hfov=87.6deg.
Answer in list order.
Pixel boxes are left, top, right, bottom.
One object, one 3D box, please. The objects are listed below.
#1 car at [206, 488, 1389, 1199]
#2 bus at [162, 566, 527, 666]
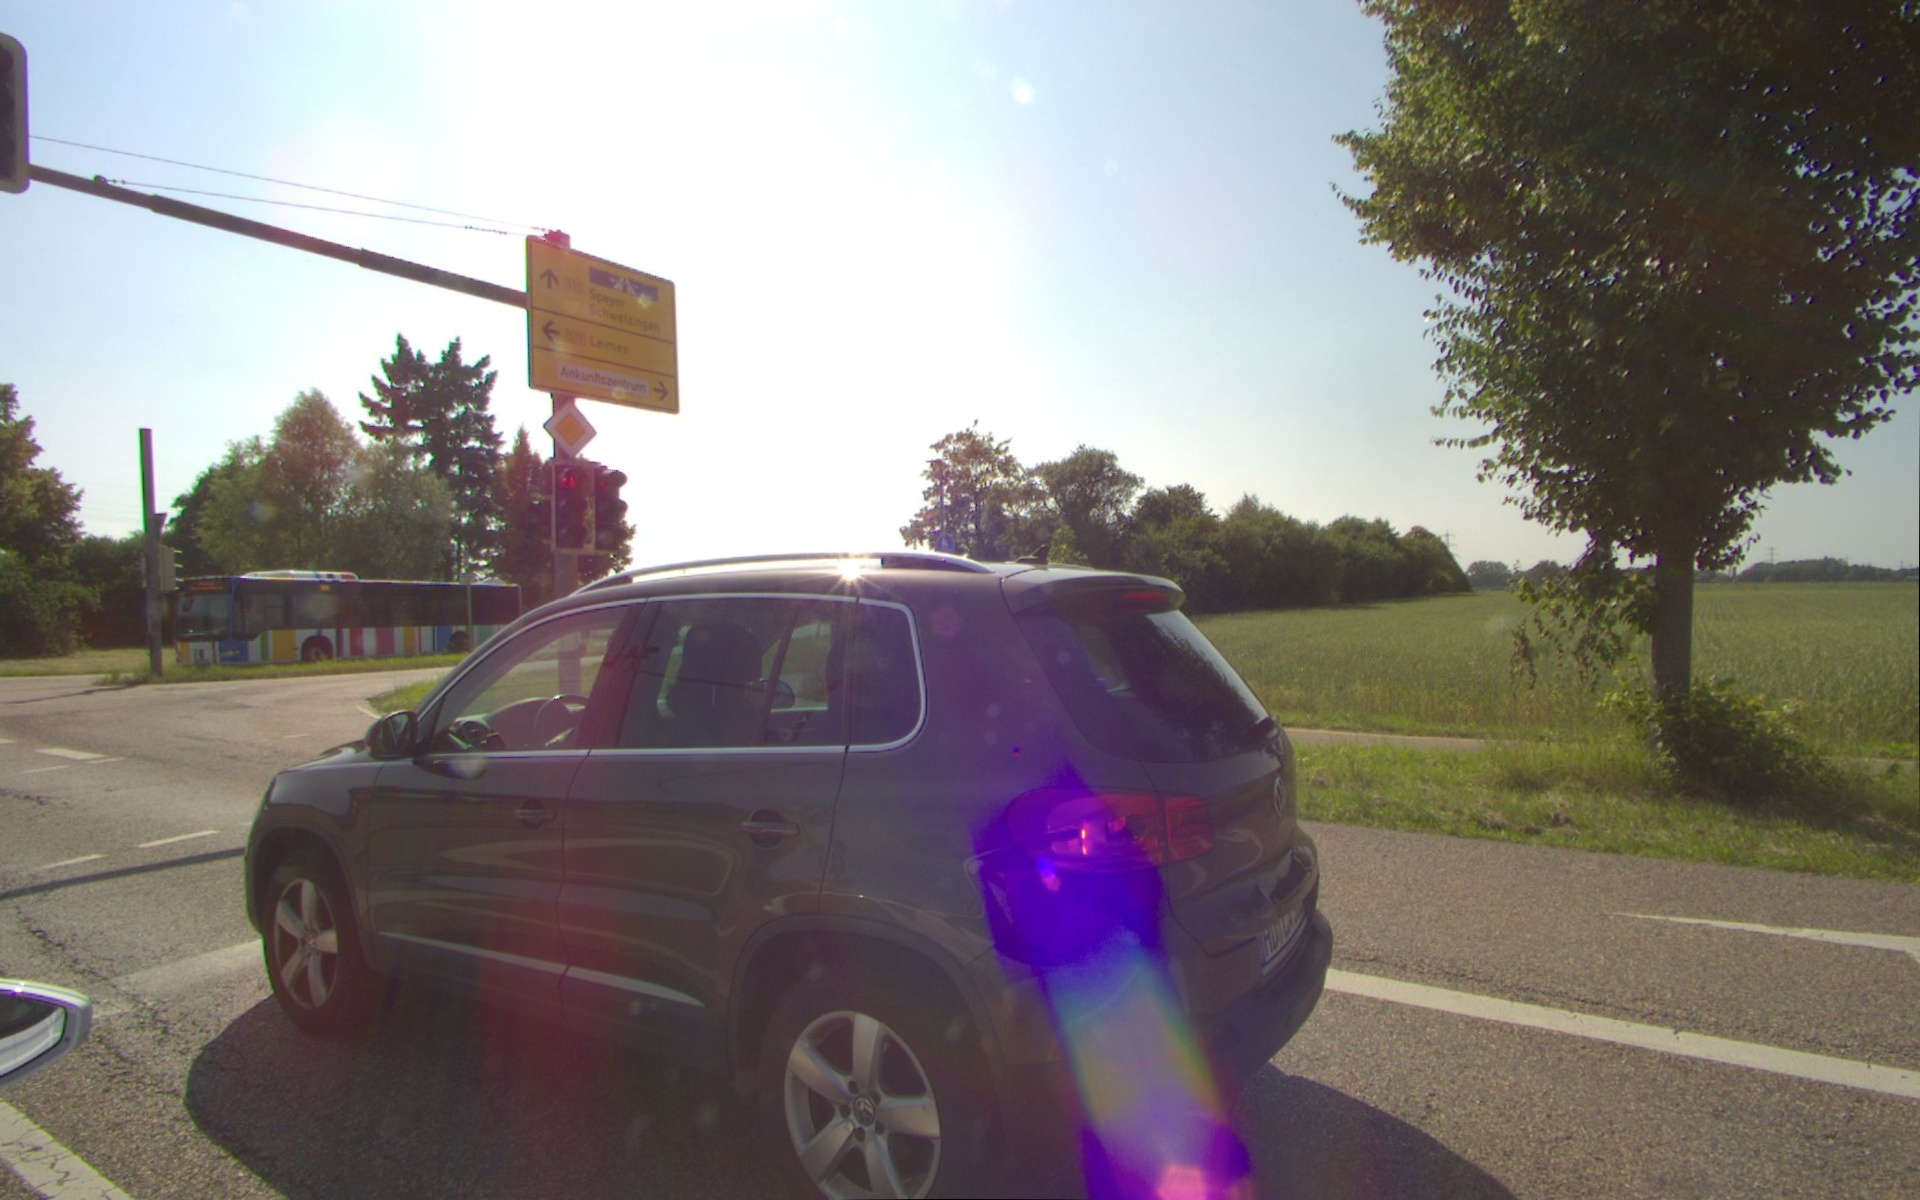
[{"bbox_3d":[-0.778,0.692,3.621,4.086,1.677,1.753,-1,-2,32],"label":"car"},{"bbox_3d":[-20.650,0.419,35.171,2.889,2.916,11.955,-1,0,17],"label":"bus"}]
